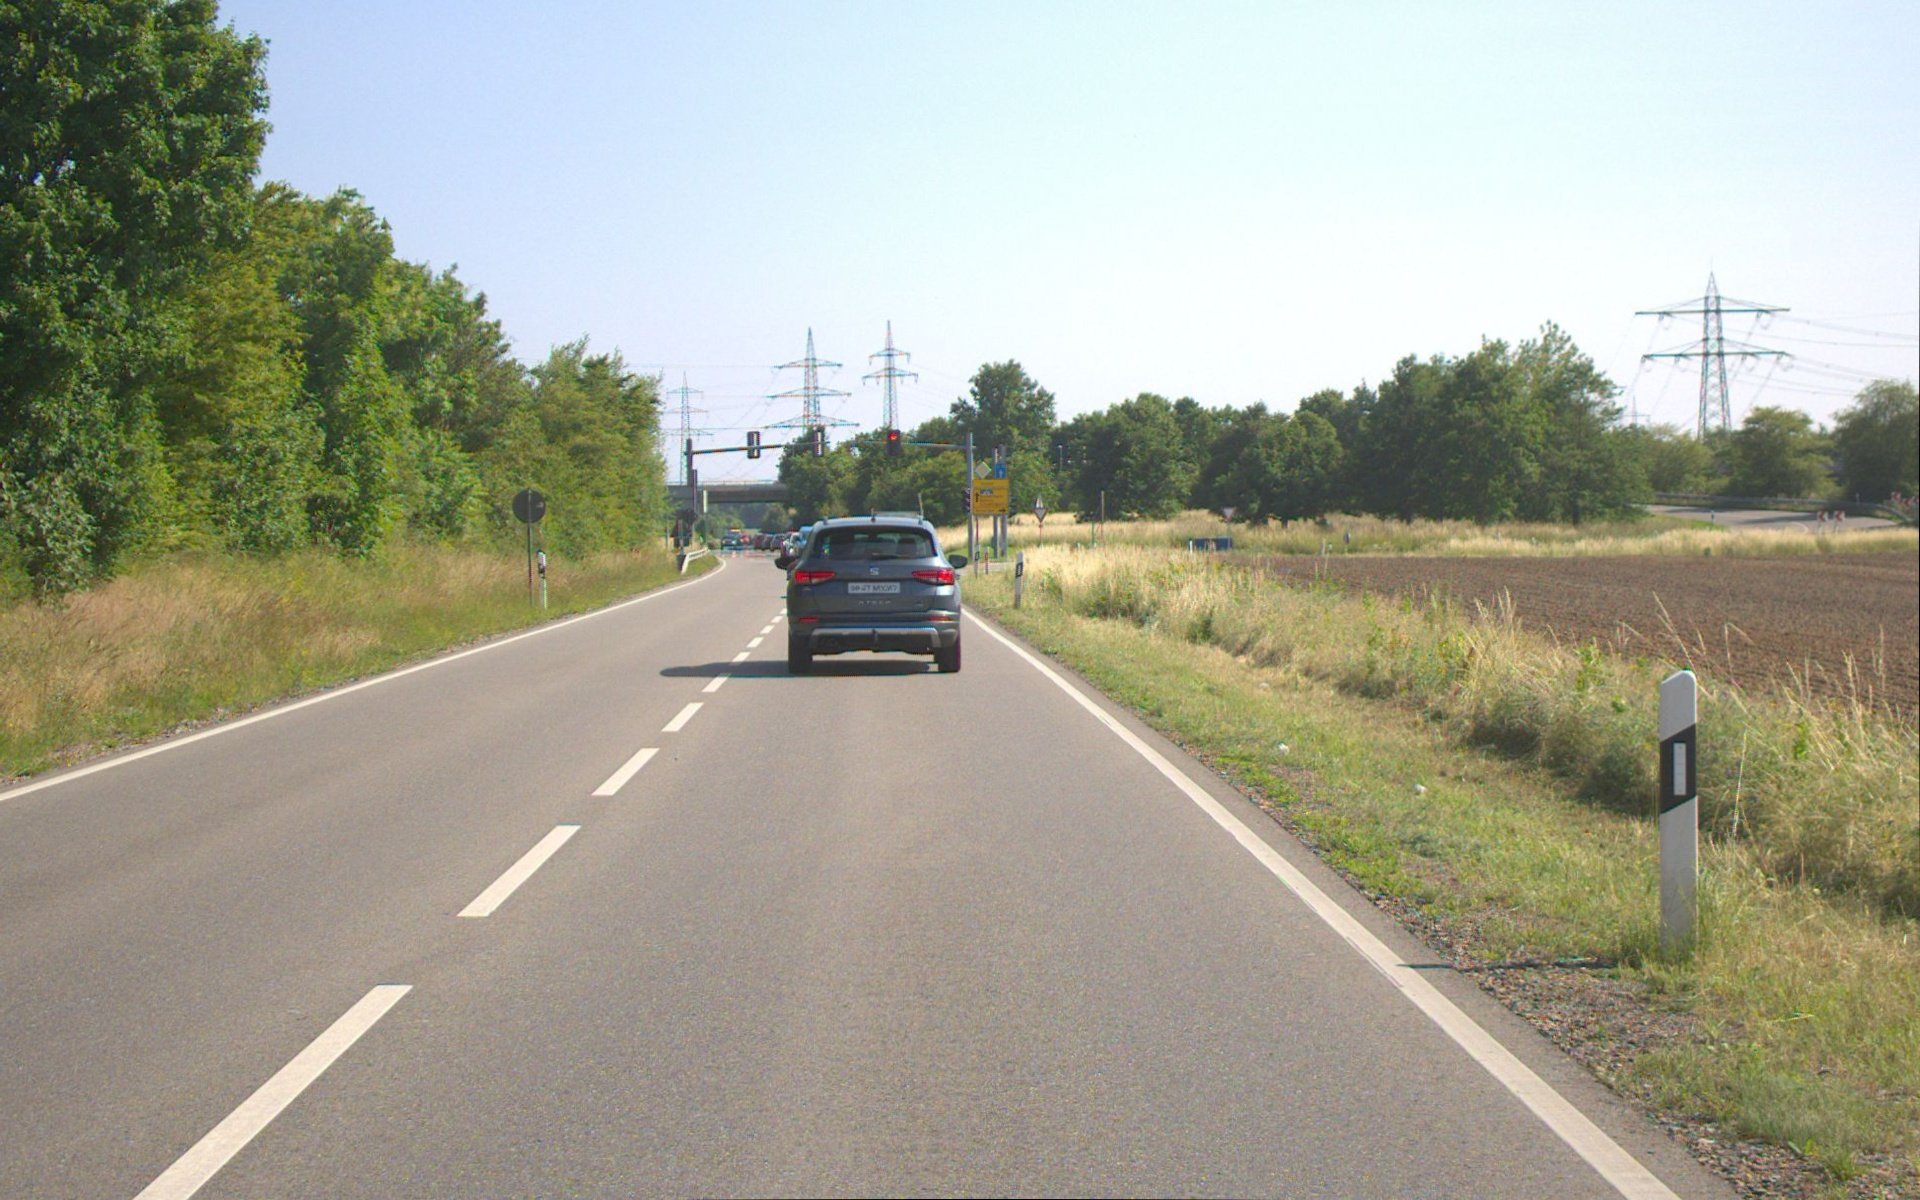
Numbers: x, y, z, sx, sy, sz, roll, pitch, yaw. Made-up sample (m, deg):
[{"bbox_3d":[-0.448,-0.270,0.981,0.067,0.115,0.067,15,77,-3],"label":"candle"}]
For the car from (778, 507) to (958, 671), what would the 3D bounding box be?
[{"bbox_3d":[-0.976,-0.161,36.323,1.785,1.623,4.001,-1,2,-2],"label":"car"}]

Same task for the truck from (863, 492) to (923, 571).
[{"bbox_3d":[-2.621,-2.693,135.707,2.337,3.055,5.810,0,1,-1],"label":"truck"}]

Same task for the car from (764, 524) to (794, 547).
[{"bbox_3d":[-10.869,-3.857,205.908,1.684,1.375,3.534,0,2,-5],"label":"car"}]
